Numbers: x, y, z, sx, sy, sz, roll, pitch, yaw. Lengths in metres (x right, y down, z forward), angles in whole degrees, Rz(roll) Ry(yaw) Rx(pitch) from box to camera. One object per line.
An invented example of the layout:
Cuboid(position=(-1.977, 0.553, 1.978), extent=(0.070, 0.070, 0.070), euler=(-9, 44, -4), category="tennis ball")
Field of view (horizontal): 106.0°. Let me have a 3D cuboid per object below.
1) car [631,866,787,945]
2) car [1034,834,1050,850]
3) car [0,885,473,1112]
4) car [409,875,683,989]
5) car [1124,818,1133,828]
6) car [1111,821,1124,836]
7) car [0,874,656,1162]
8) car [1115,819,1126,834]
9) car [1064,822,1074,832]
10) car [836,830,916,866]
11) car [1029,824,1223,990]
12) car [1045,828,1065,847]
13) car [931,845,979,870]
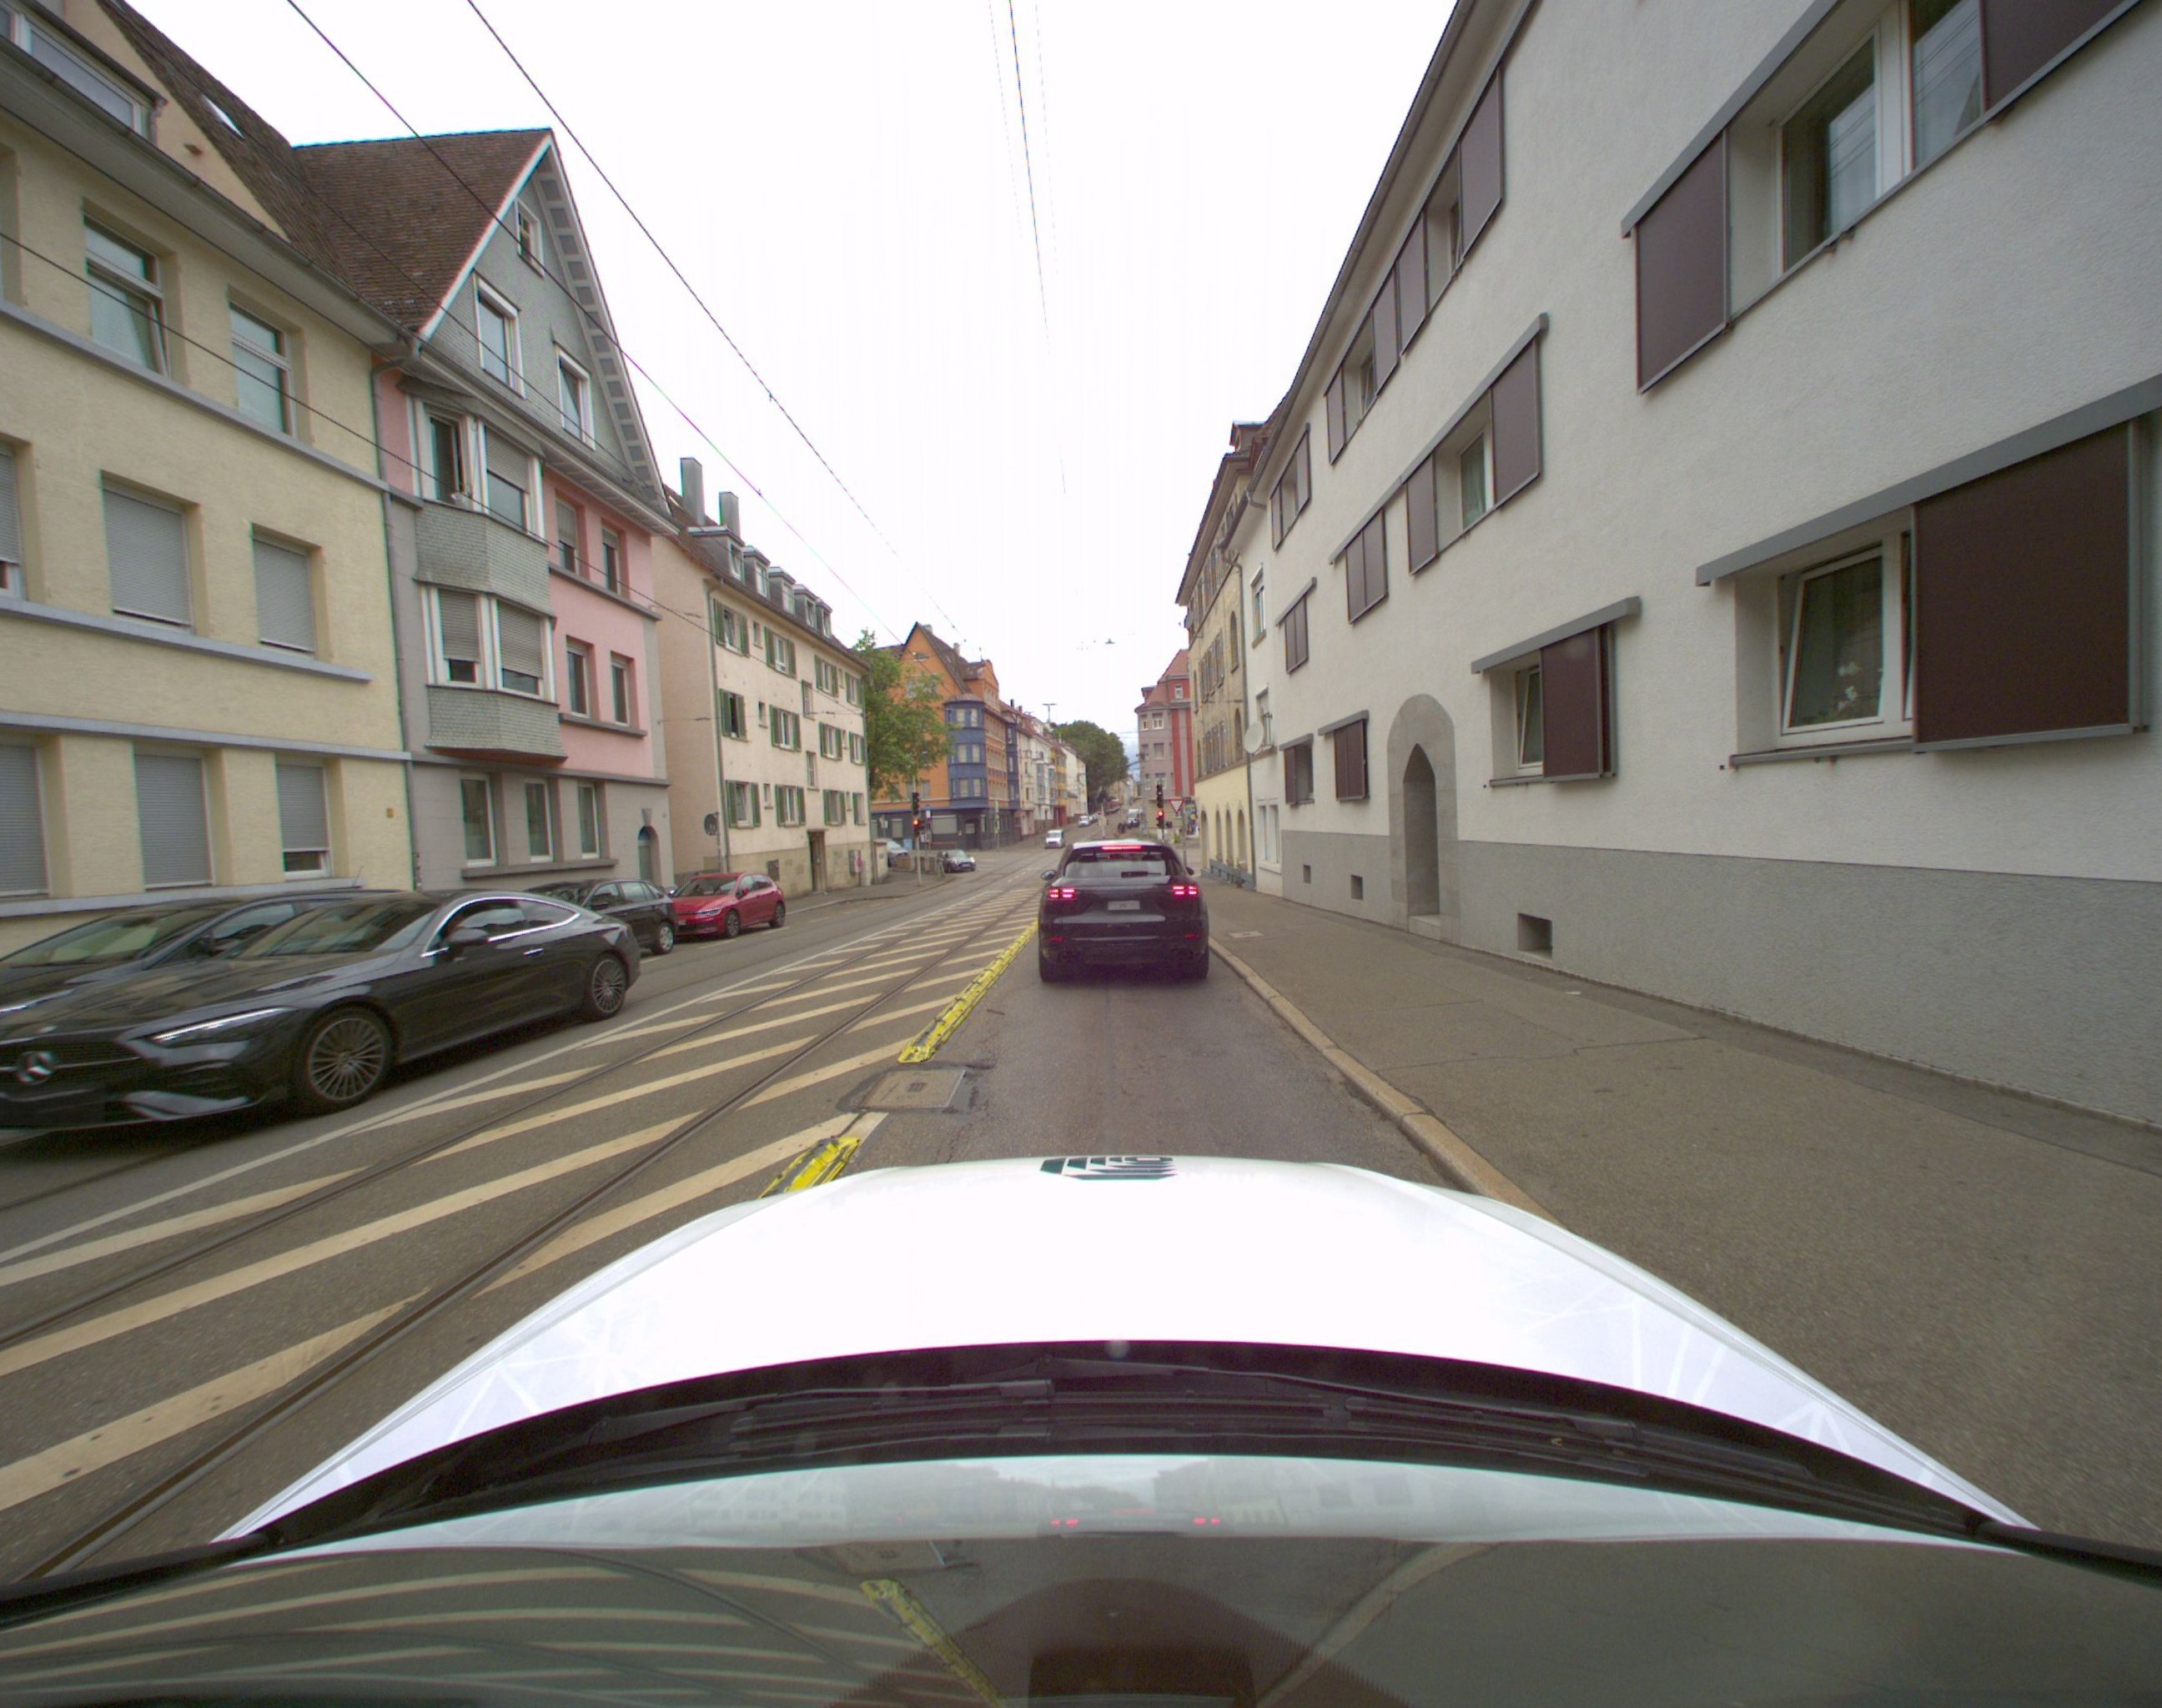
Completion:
Cuboid(position=(-8.334, 1.074, 18.685), extent=(1.615, 1.490, 4.047), euler=(-3, 0, 0), category="car")
Cuboid(position=(-4.413, -1.396, 92.737), extent=(1.389, 1.722, 3.361), euler=(-2, 0, 2), category="car")
Cuboid(position=(-8.469, 1.157, 7.833), extent=(1.614, 1.473, 4.558), euler=(-3, 0, 2), category="car")
Cuboid(position=(-8.529, 1.148, 13.489), extent=(1.729, 1.410, 4.002), euler=(-3, 0, 2), category="car")
Cuboid(position=(7.623, -4.922, 130.823), extent=(1.389, 1.450, 3.361), euler=(-2, 0, 2), category="car")
Cuboid(position=(4.423, -3.107, 98.798), extent=(1.389, 1.722, 3.361), euler=(-2, 0, 2), category="car")
Cuboid(position=(-5.772, 0.994, 6.831), extent=(1.914, 1.424, 4.499), euler=(-3, 0, 1), category="car")
Cuboid(position=(5.125, -3.553, 105.777), extent=(1.389, 1.722, 3.361), euler=(-2, 0, 2), category="car")
Cuboid(position=(-1.902, -4.258, 128.506), extent=(1.389, 1.450, 3.361), euler=(-2, 0, 2), category="car")
Cuboid(position=(-15.149, -0.420, 60.284), extent=(5.243, 2.243, 2.008), euler=(0, -15, 22), category="car")
Cuboid(position=(0.528, 0.551, 10.656), extent=(1.986, 1.676, 4.001), euler=(-3, 0, 1), category="car")
Cuboid(position=(-2.643, -1.656, 83.508), extent=(1.744, 1.759, 4.256), euler=(-2, 0, 2), category="car")
Cuboid(position=(-8.095, 0.237, 52.192), extent=(1.646, 1.508, 3.503), euler=(-3, 0, -33), category="car")
